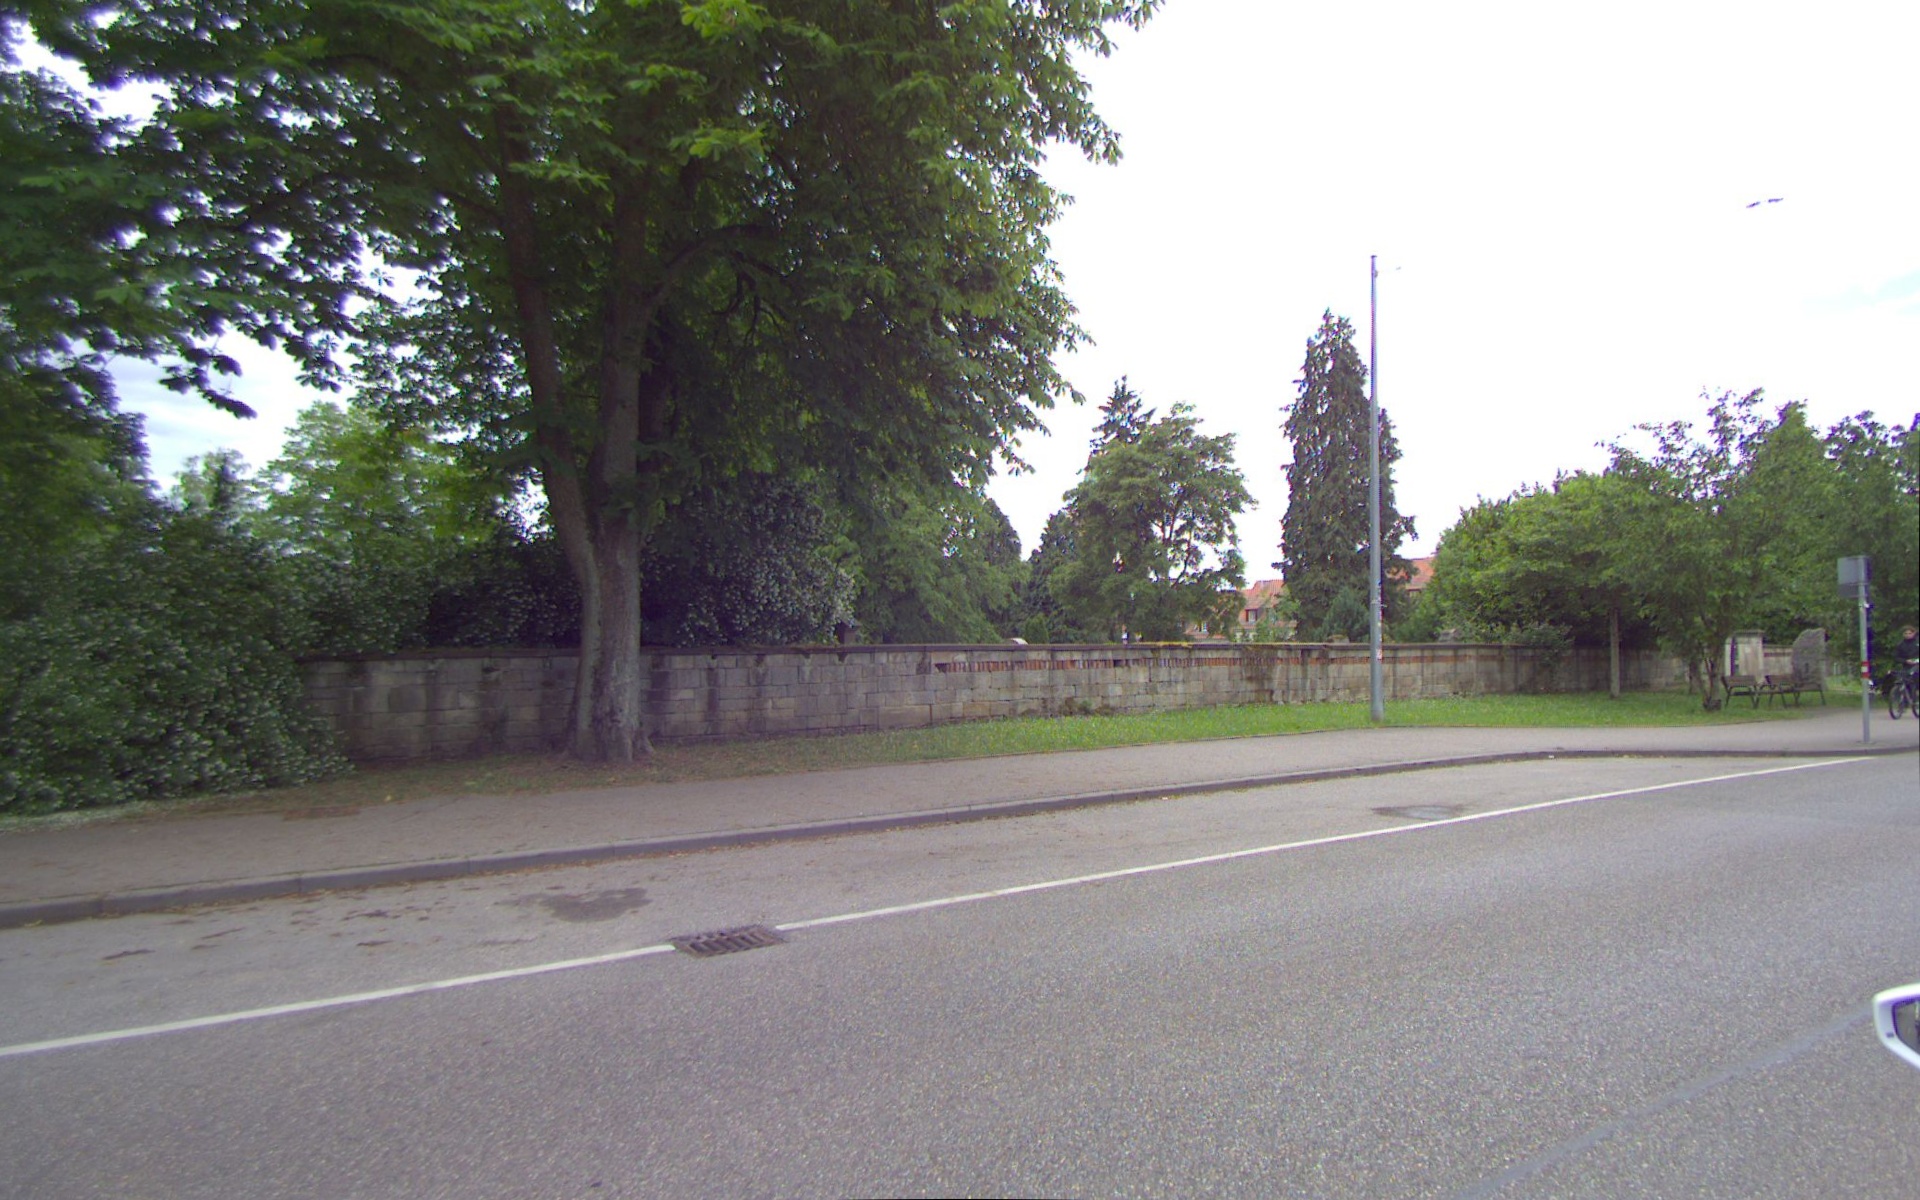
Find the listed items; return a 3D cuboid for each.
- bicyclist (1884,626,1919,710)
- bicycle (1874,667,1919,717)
[{"bbox_3d":[19.818,1.410,21.056,0.581,1.706,0.485,2,0,-30],"label":"bicyclist"},{"bbox_3d":[19.873,1.914,21.098,1.728,0.977,0.493,2,0,-30],"label":"bicycle"}]
